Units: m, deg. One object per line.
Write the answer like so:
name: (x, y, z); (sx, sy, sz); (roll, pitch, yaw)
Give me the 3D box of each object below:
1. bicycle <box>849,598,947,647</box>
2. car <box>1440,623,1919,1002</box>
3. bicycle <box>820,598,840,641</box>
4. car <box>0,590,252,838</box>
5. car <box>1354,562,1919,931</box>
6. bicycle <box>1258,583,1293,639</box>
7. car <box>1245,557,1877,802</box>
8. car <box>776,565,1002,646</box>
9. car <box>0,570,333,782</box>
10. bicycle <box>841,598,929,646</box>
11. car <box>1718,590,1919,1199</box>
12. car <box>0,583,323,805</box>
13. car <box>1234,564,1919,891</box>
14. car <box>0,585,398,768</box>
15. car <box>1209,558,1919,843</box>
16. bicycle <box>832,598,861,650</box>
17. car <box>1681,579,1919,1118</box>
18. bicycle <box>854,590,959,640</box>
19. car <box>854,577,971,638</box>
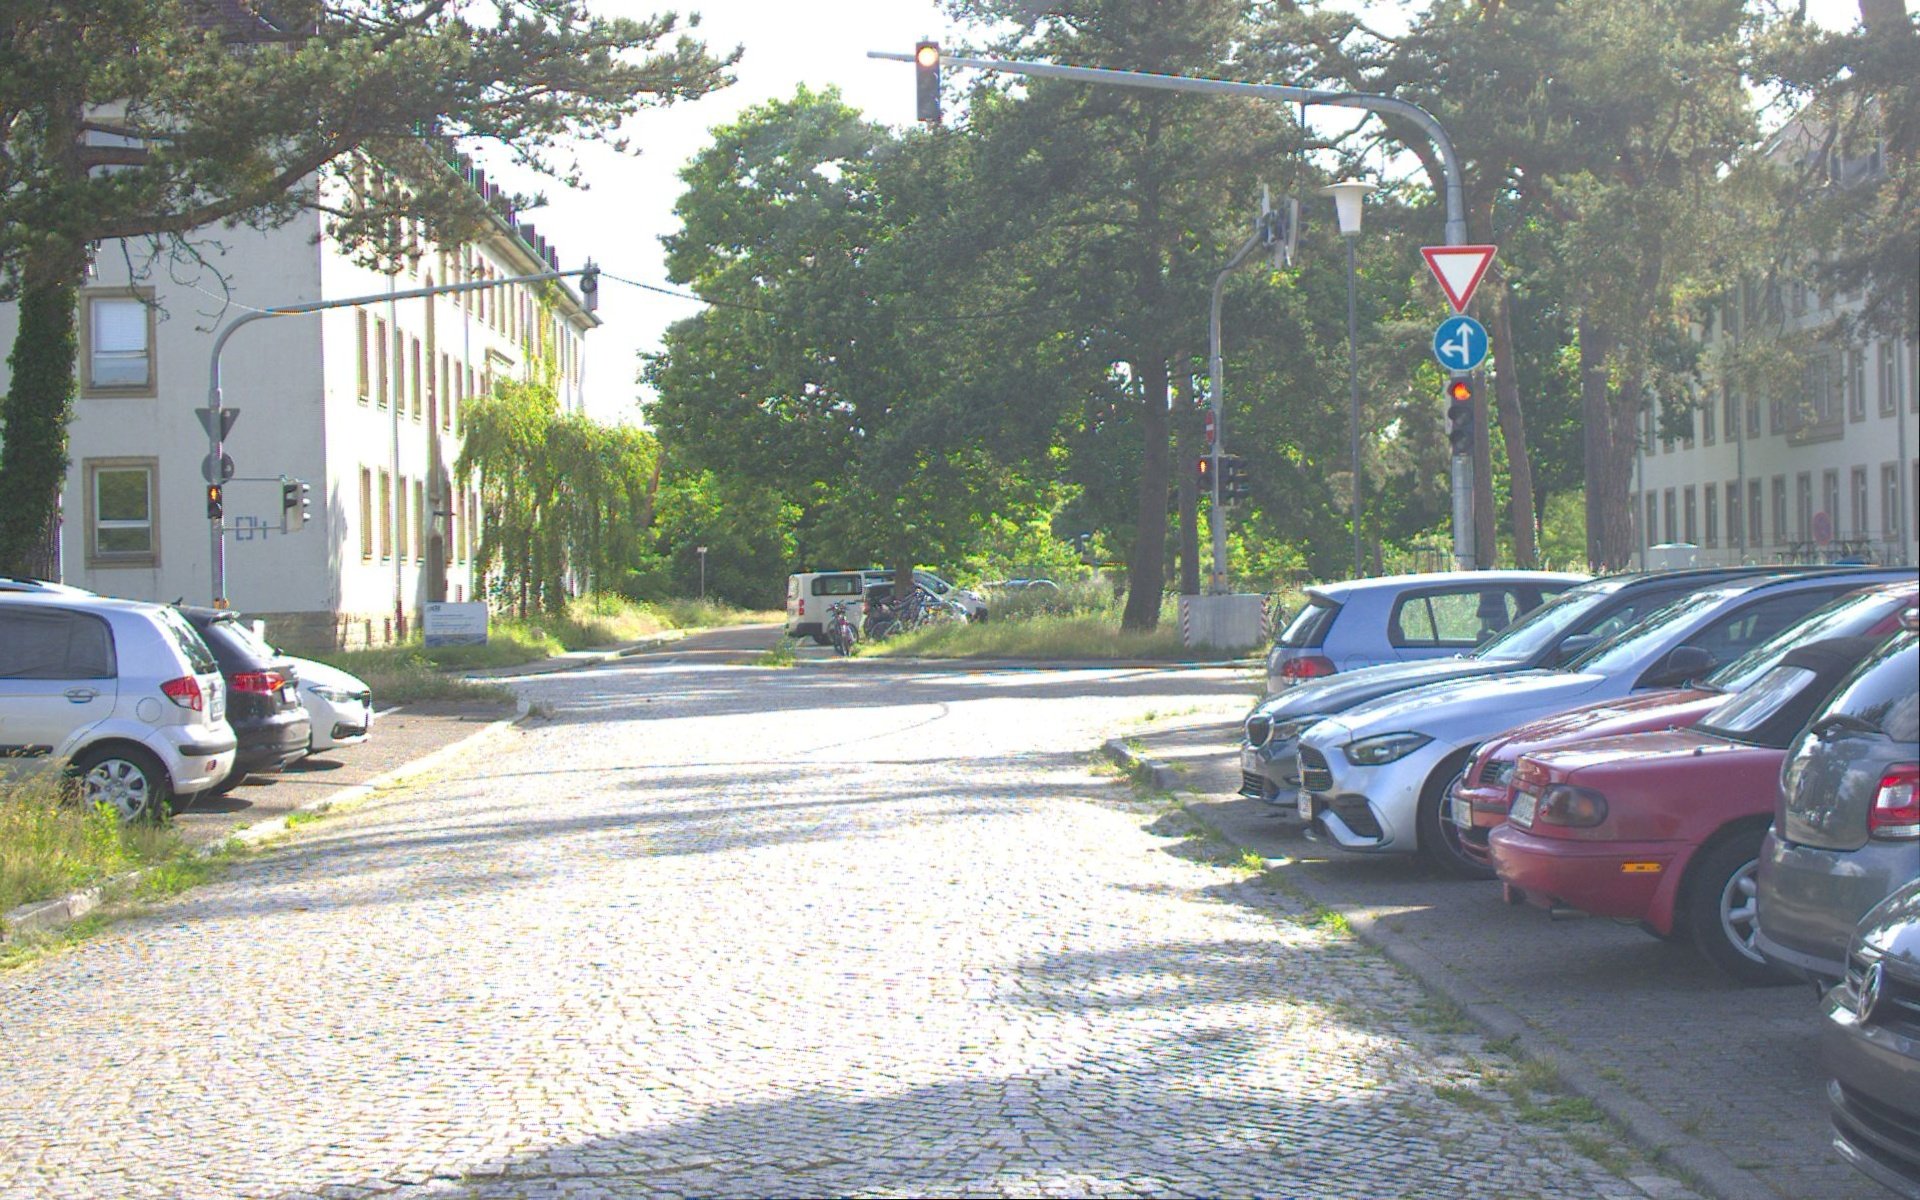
bicycle: (-1.335, 0.485, 73.546); (2.004, 1.007, 0.632); (1, 0, -9)
car: (3.832, 0.719, 13.070); (3.707, 1.219, 1.746); (-3, 1, -1)
bicycle: (-3.085, 0.452, 81.456); (0.417, 1.007, 1.483); (1, 0, -1)
car: (-6.532, 0.684, 21.921); (3.745, 1.482, 1.646); (1, 1, -4)
car: (3.964, 0.579, 15.438); (4.127, 1.444, 1.637); (-3, 1, -1)
bicycle: (5.489, 0.185, 59.862); (0.300, 0.957, 1.586); (1, 0, -5)
car: (3.957, 0.503, 23.051); (3.882, 1.410, 1.637); (-3, 1, -1)
car: (-1.856, 0.149, 89.893); (5.520, 2.007, 2.001); (1, 0, -19)
car: (-7.188, 0.571, 27.481); (4.079, 1.588, 1.886); (1, 1, -4)
bicycle: (-1.639, 0.488, 75.297); (1.837, 1.007, 0.636); (1, 0, -9)
car: (3.757, 0.652, 7.540); (3.707, 1.444, 1.856); (-3, 1, -1)
car: (-6.670, 0.631, 24.530); (3.986, 1.475, 1.803); (1, 1, -4)
car: (3.722, 0.592, 17.551); (4.432, 1.410, 1.781); (-3, 1, -1)
car: (-7.149, 0.638, 29.811); (4.333, 1.463, 1.831); (1, 1, -4)
car: (3.843, 0.553, 20.269); (4.559, 1.410, 1.637); (-3, 1, -1)
bicycle: (-2.261, 0.468, 68.221); (0.467, 1.007, 1.586); (1, 0, -5)
car: (4.281, 0.619, 10.475); (3.707, 1.444, 1.816); (-3, 1, -1)
bicycle: (-1.124, 0.310, 71.891); (2.108, 1.007, 0.621); (1, 0, -9)
car: (-1.211, 0.199, 86.313); (2.781, 1.462, 1.671); (1, 0, -6)
